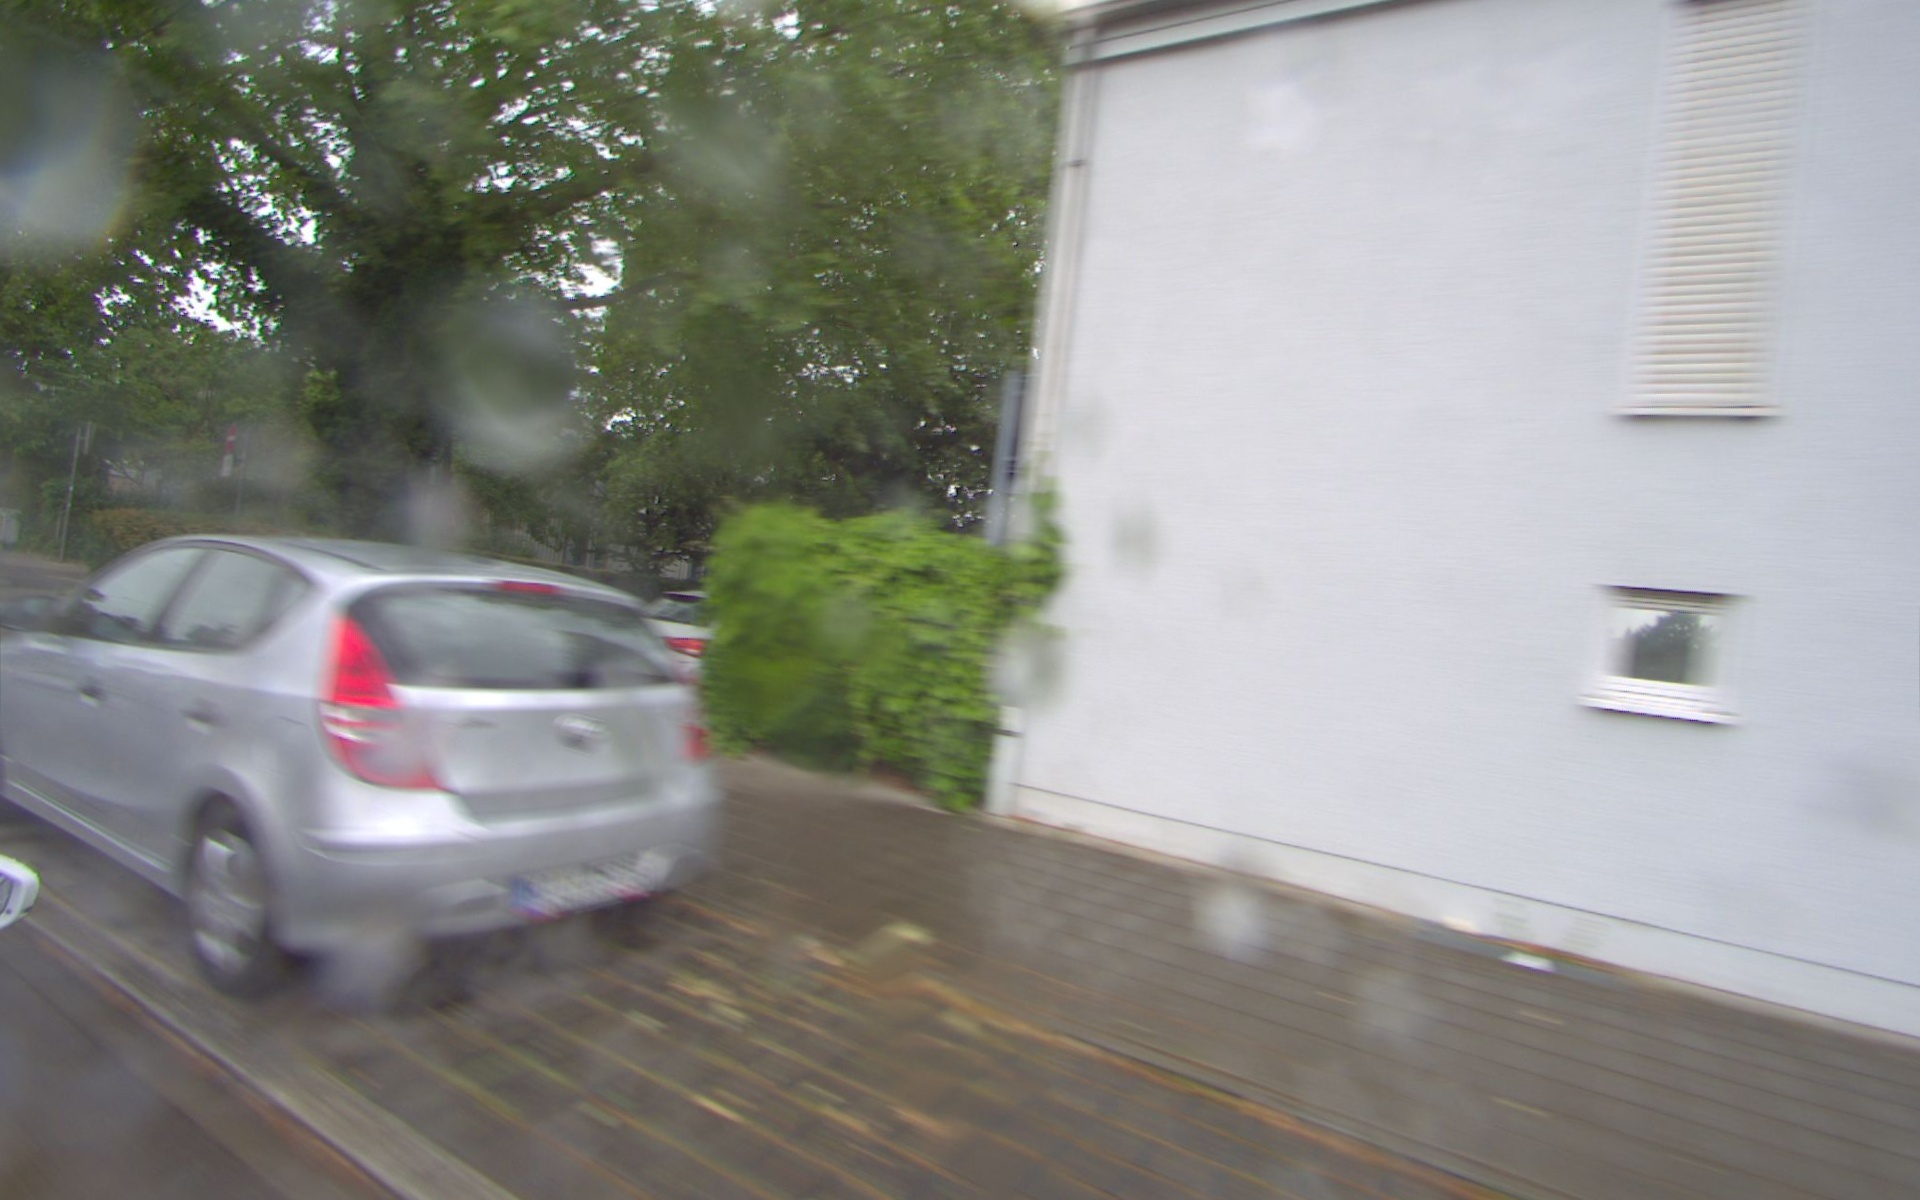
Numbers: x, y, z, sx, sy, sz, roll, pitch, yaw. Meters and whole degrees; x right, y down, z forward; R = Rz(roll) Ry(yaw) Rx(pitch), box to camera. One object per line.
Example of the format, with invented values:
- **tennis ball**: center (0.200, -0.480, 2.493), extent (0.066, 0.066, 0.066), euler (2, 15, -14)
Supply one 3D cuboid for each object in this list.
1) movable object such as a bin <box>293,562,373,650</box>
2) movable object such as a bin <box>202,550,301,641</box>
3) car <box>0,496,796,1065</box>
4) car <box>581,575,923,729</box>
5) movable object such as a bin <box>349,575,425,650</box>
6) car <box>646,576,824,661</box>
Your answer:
- **movable object such as a bin**: center (-8.063, 0.079, 12.941), extent (0.726, 1.035, 0.536), euler (6, 2, 31)
- **movable object such as a bin**: center (-8.919, -0.051, 12.670), extent (0.810, 1.035, 0.693), euler (6, 1, 31)
- **car**: center (-2.801, 0.418, 4.512), extent (3.731, 1.487, 1.807), euler (6, 1, 32)
- **car**: center (-2.276, 0.692, 11.897), extent (1.732, 1.393, 3.702), euler (6, -3, 34)
- **movable object such as a bin**: center (-7.613, 0.174, 13.366), extent (0.726, 0.910, 0.536), euler (6, 1, 31)
- **car**: center (-5.554, 0.459, 24.794), extent (3.930, 1.558, 1.760), euler (6, -2, 28)
